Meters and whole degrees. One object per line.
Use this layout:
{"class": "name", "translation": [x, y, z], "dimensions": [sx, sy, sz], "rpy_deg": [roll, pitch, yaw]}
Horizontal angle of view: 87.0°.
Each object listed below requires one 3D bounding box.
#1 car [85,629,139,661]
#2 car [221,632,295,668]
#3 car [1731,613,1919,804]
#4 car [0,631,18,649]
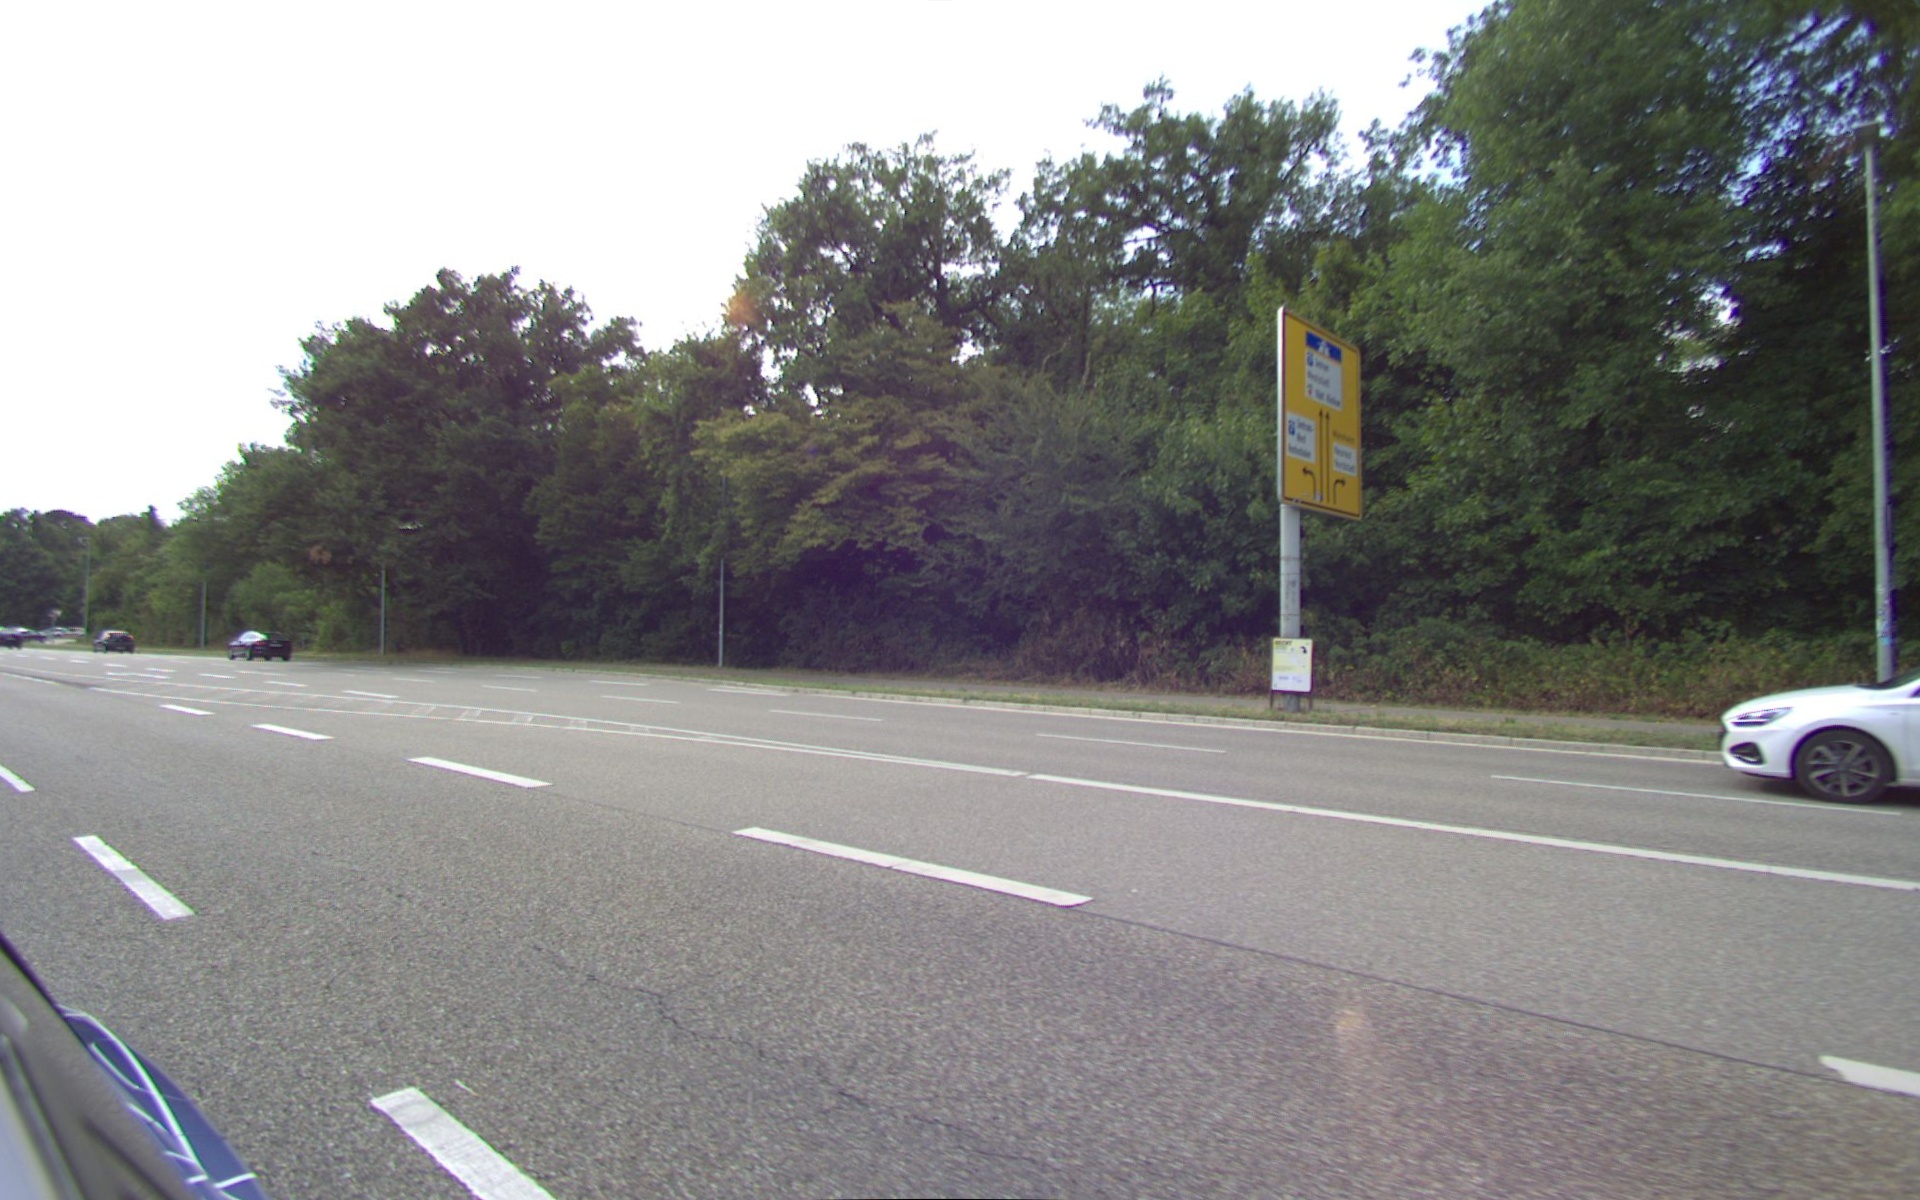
{"class": "car", "translation": [-55.868, 2.931, 66.650], "dimensions": [3.995, 1.896, 1.974], "rpy_deg": [-1, 0, 39]}
{"class": "car", "translation": [-34.396, 2.403, 49.551], "dimensions": [3.996, 1.606, 1.974], "rpy_deg": [-1, 0, 40]}
{"class": "car", "translation": [9.239, 0.883, 8.209], "dimensions": [4.591, 1.512, 1.914], "rpy_deg": [-1, 0, 43]}
{"class": "car", "translation": [-70.945, 2.967, 74.808], "dimensions": [3.774, 1.280, 1.383], "rpy_deg": [-1, 0, 39]}
